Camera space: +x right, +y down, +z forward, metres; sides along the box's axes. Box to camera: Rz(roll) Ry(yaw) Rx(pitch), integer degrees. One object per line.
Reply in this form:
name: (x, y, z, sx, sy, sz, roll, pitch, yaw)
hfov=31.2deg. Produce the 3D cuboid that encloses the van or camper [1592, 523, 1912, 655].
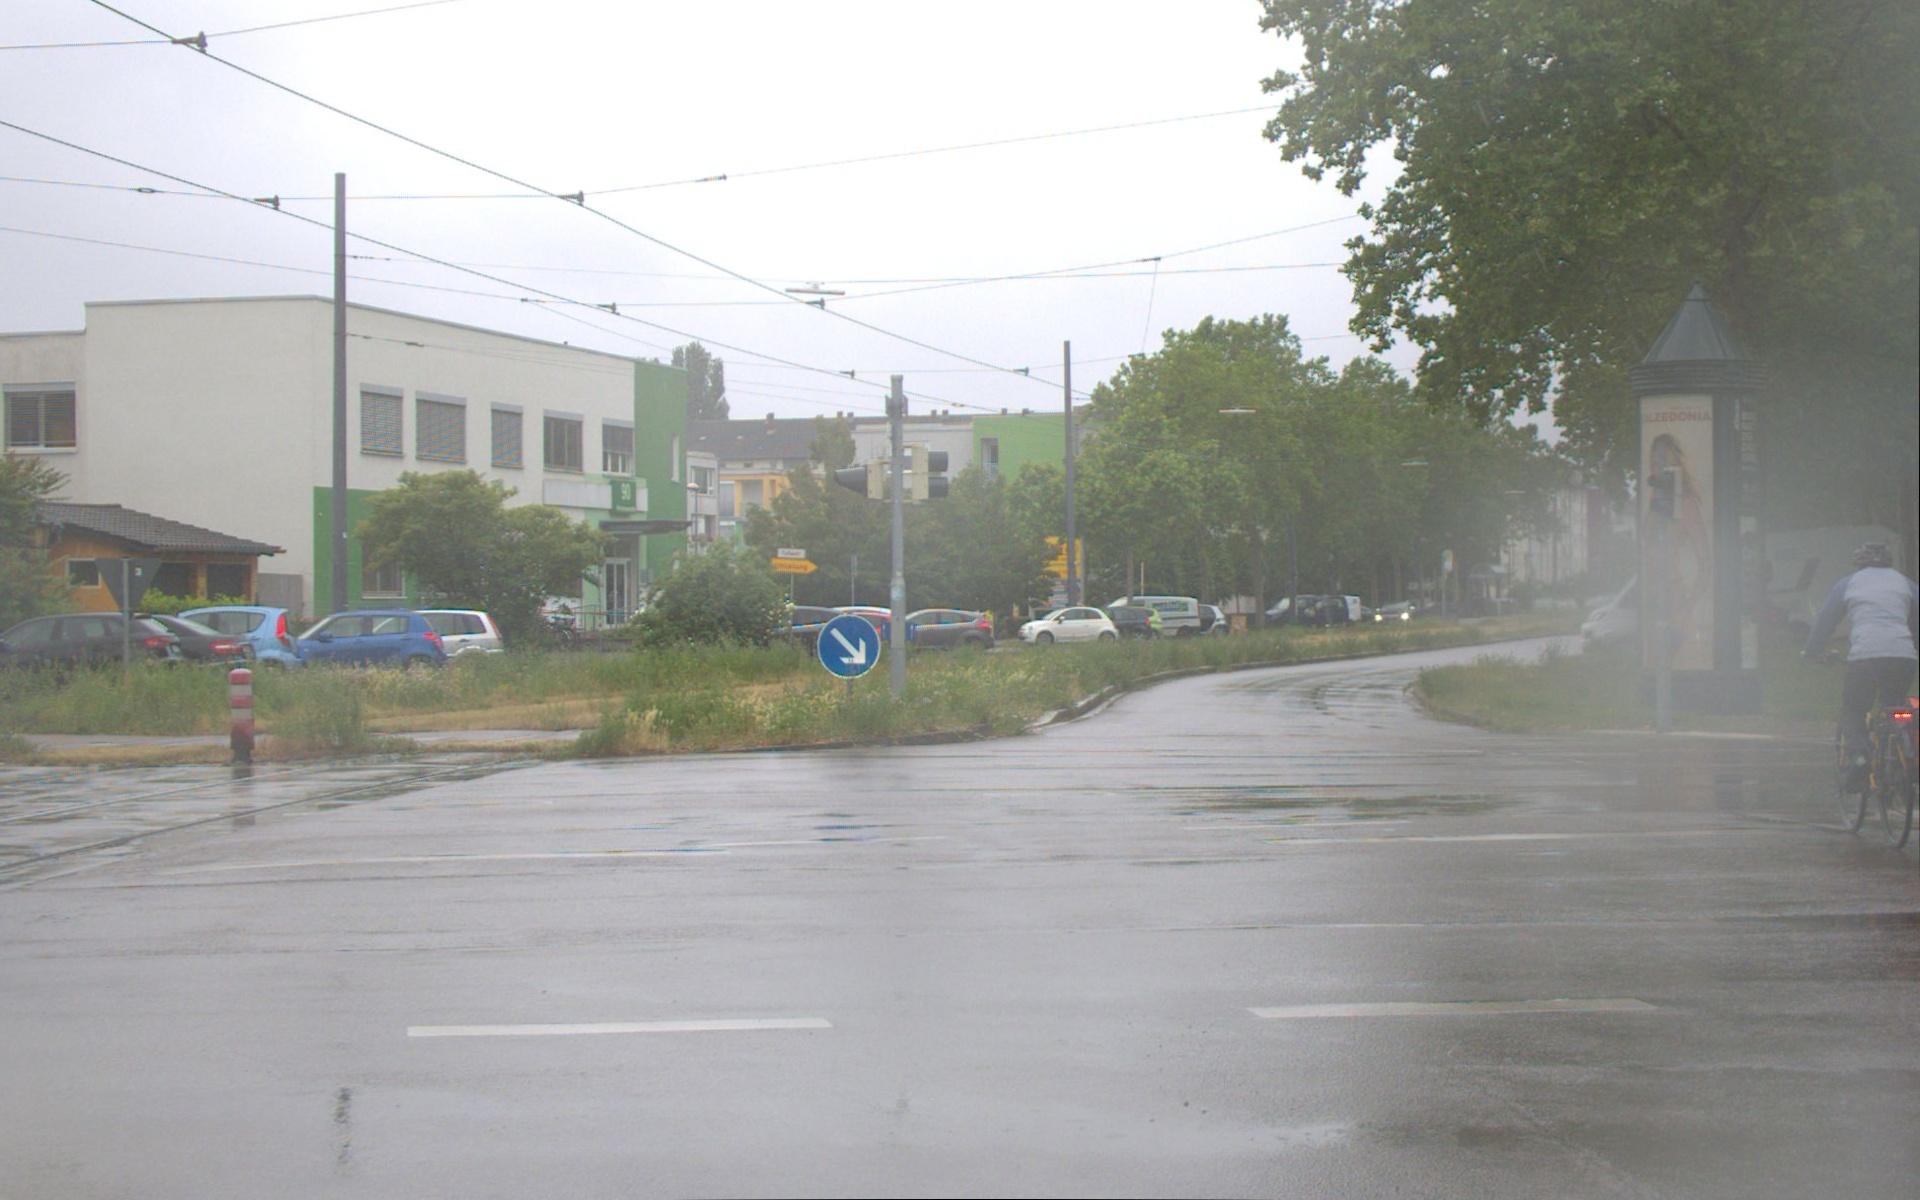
van or camper: (19.867, -0.283, 86.183, 7.433, 3.168, 3.259, 1, 0, 20)

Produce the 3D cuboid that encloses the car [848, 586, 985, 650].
car: (-1.355, 0.561, 106.160, 3.986, 1.881, 2.000, 1, 0, -9)

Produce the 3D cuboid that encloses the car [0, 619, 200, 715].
car: (-14.519, 1.078, 54.537, 4.477, 1.413, 1.858, -2, 0, -1)

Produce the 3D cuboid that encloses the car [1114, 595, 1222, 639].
car: (8.544, 0.690, 141.333, 3.986, 1.753, 2.011, 1, 0, -13)

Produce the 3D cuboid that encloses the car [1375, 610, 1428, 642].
car: (23.438, 1.402, 182.350, 1.892, 1.656, 3.995, 1, 0, 21)

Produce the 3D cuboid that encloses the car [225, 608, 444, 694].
car: (-11.922, 0.956, 65.434, 3.986, 1.576, 1.930, 0, 0, -13)

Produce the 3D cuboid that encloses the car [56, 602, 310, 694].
car: (-13.606, 0.836, 60.334, 3.987, 1.576, 1.858, 0, 0, 2)

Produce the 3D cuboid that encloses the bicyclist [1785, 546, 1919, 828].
bicyclist: (4.981, 0.470, 18.730, 0.690, 1.501, 0.844, 1, -1, -6)

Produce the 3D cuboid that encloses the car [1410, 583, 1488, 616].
car: (27.855, -0.017, 195.984, 3.986, 1.826, 2.000, 1, 0, -7)

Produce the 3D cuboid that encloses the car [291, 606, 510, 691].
car: (-11.189, 0.954, 68.631, 4.107, 1.635, 1.930, 0, 0, -16)

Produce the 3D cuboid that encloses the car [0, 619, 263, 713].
car: (-13.969, 1.090, 56.845, 4.497, 1.413, 1.858, -2, 0, -1)

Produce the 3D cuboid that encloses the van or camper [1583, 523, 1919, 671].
van or camper: (17.915, -0.077, 77.405, 7.327, 3.168, 3.260, 1, 0, 16)

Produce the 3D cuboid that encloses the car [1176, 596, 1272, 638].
car: (11.954, 0.768, 155.564, 3.986, 1.826, 2.000, 1, 0, -7)

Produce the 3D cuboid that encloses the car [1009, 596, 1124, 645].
car: (3.793, 0.736, 123.077, 3.773, 1.697, 1.837, 1, 0, -12)

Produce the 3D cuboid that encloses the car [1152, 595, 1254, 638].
car: (10.626, 0.725, 150.440, 3.986, 1.826, 2.001, 1, 0, -13)

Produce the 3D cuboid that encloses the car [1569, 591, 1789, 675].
car: (15.553, 0.701, 74.333, 4.448, 1.711, 1.998, 1, 0, 19)

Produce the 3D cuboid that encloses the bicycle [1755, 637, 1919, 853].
bicycle: (4.982, 0.761, 18.717, 0.690, 1.113, 1.885, 1, -1, -6)
